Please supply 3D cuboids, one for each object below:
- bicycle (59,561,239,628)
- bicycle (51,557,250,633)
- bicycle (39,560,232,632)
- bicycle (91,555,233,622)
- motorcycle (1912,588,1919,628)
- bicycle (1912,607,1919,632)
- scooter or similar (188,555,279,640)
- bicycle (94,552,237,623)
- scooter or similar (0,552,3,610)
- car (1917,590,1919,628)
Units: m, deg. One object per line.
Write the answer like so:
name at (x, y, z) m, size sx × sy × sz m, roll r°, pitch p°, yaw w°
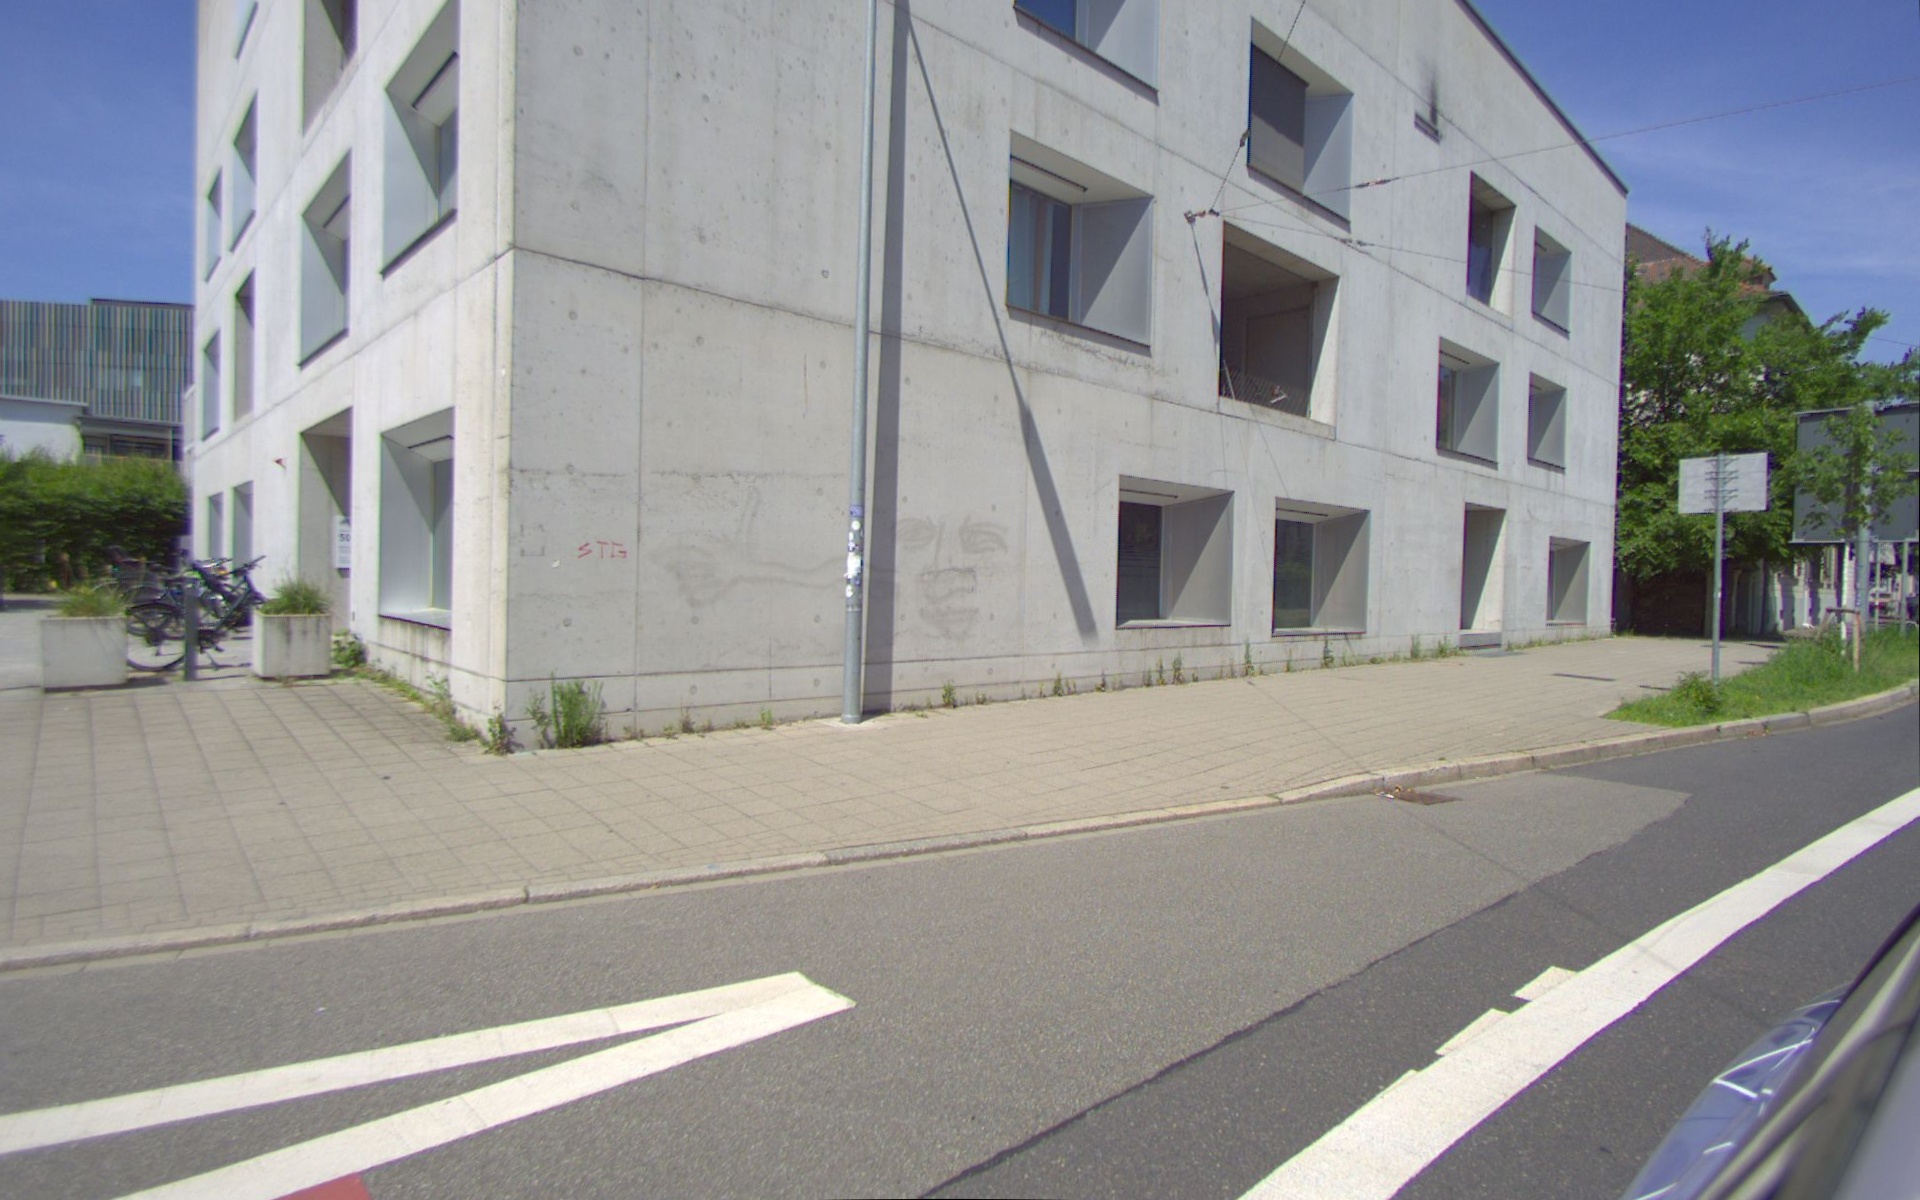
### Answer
bicycle at (-12.827, -0.100, 16.074) m, size 0.650 × 0.997 × 2.168 m, roll 2°, pitch 2°, yaw 41°
bicycle at (-11.597, -0.095, 14.570) m, size 0.650 × 1.016 × 2.168 m, roll 2°, pitch 2°, yaw 41°
bicycle at (-12.242, -0.073, 15.102) m, size 0.650 × 0.997 × 2.168 m, roll 2°, pitch 2°, yaw 41°
bicycle at (-14.105, -0.220, 17.931) m, size 0.650 × 1.129 × 1.903 m, roll 2°, pitch 2°, yaw 41°
motorcycle at (37.619, 0.335, 38.958) m, size 2.508 × 1.524 × 0.748 m, roll 1°, pitch 1°, yaw -32°
bicycle at (40.139, 0.816, 41.419) m, size 0.365 × 1.028 × 1.660 m, roll 1°, pitch 1°, yaw -42°
scooter or similar at (-10.213, -0.051, 14.231) m, size 0.532 × 1.154 × 0.949 m, roll 2°, pitch 2°, yaw 41°
bicycle at (-13.613, -0.226, 17.388) m, size 0.650 × 1.146 × 1.860 m, roll 2°, pitch 2°, yaw 41°
scooter or similar at (-18.354, -0.354, 18.990) m, size 0.516 × 1.098 × 0.577 m, roll 0°, pitch 1°, yaw -37°
car at (42.796, 0.392, 43.661) m, size 4.795 × 1.596 × 1.862 m, roll -1°, pitch 2°, yaw -43°
